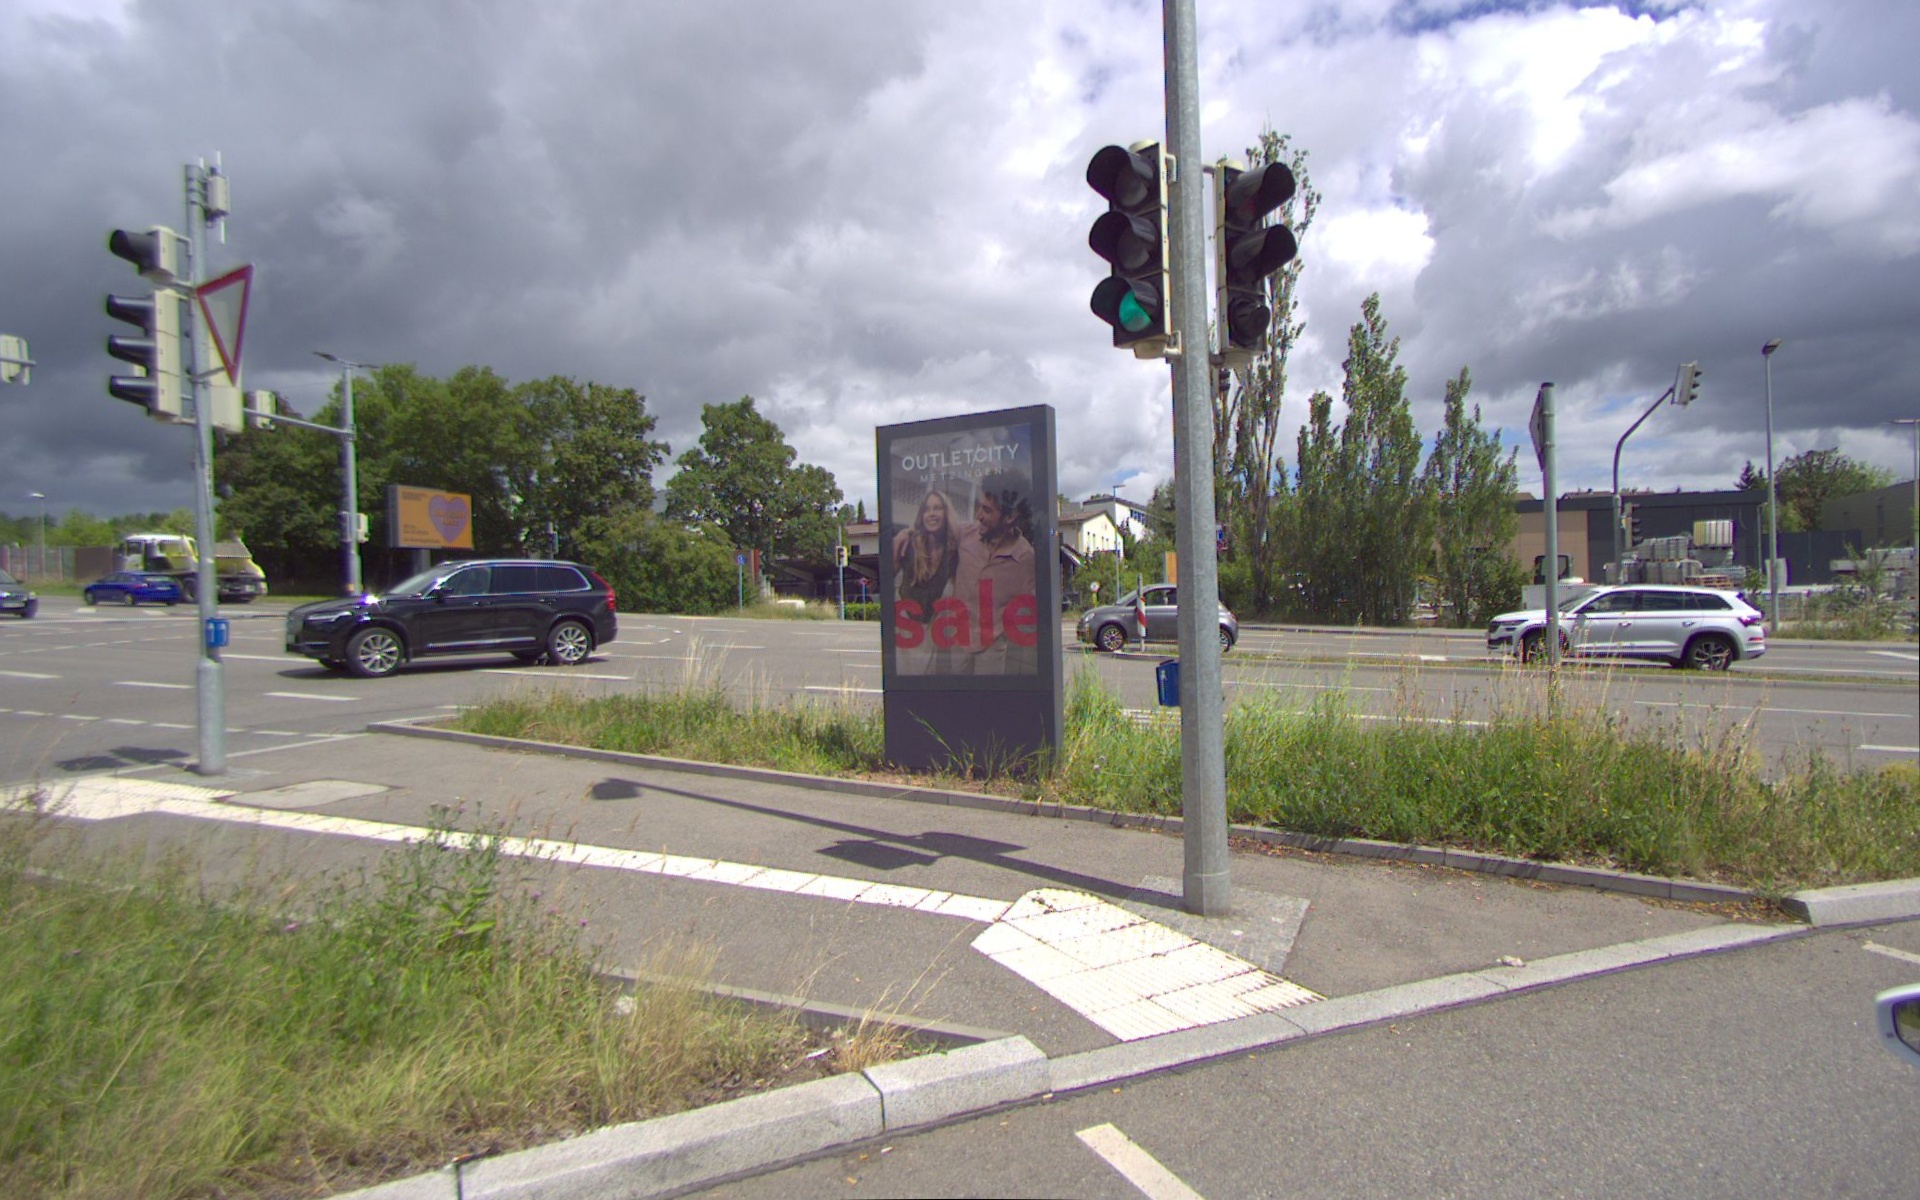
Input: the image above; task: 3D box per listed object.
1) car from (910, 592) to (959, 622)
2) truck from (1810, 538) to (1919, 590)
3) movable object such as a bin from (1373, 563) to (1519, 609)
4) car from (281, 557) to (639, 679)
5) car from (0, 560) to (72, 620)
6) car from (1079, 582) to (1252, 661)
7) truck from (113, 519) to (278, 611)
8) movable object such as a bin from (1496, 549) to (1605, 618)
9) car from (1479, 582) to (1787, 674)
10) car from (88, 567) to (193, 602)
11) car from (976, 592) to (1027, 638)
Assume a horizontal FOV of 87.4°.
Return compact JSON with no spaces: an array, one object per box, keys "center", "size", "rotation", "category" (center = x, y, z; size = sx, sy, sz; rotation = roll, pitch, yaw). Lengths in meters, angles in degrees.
[{"center":[-1.336,0.304,50.324],"size":[1.668,1.419,3.989],"rotation":[0,1,-14],"category":"car"},{"center":[45.397,-1.817,48.437],"size":[6.477,2.173,1.992],"rotation":[-5,-1,37],"category":"truck"},{"center":[26.553,-0.741,55.012],"size":[6.833,2.040,2.288],"rotation":[-4,-1,35],"category":"movable object such as a bin"},{"center":[-8.033,0.207,16.525],"size":[1.885,1.712,4.949],"rotation":[2,2,45],"category":"car"},{"center":[-28.484,-0.344,29.111],"size":[4.872,1.657,1.911],"rotation":[1,2,19],"category":"car"},{"center":[4.436,0.456,22.041],"size":[3.454,1.480,1.586],"rotation":[-3,0,2],"category":"car"},{"center":[-35.779,-1.552,47.045],"size":[6.833,3.626,2.846],"rotation":[-4,-1,21],"category":"truck"},{"center":[23.246,-0.643,39.564],"size":[3.363,2.572,2.143],"rotation":[1,1,40],"category":"movable object such as a bin"},{"center":[13.180,0.498,20.056],"size":[4.805,1.681,1.733],"rotation":[0,1,21],"category":"car"},{"center":[-34.432,-0.645,42.196],"size":[3.922,1.419,1.696],"rotation":[0,1,21],"category":"car"},{"center":[2.011,0.757,49.399],"size":[1.962,2.040,3.998],"rotation":[-4,-1,-4],"category":"car"}]
